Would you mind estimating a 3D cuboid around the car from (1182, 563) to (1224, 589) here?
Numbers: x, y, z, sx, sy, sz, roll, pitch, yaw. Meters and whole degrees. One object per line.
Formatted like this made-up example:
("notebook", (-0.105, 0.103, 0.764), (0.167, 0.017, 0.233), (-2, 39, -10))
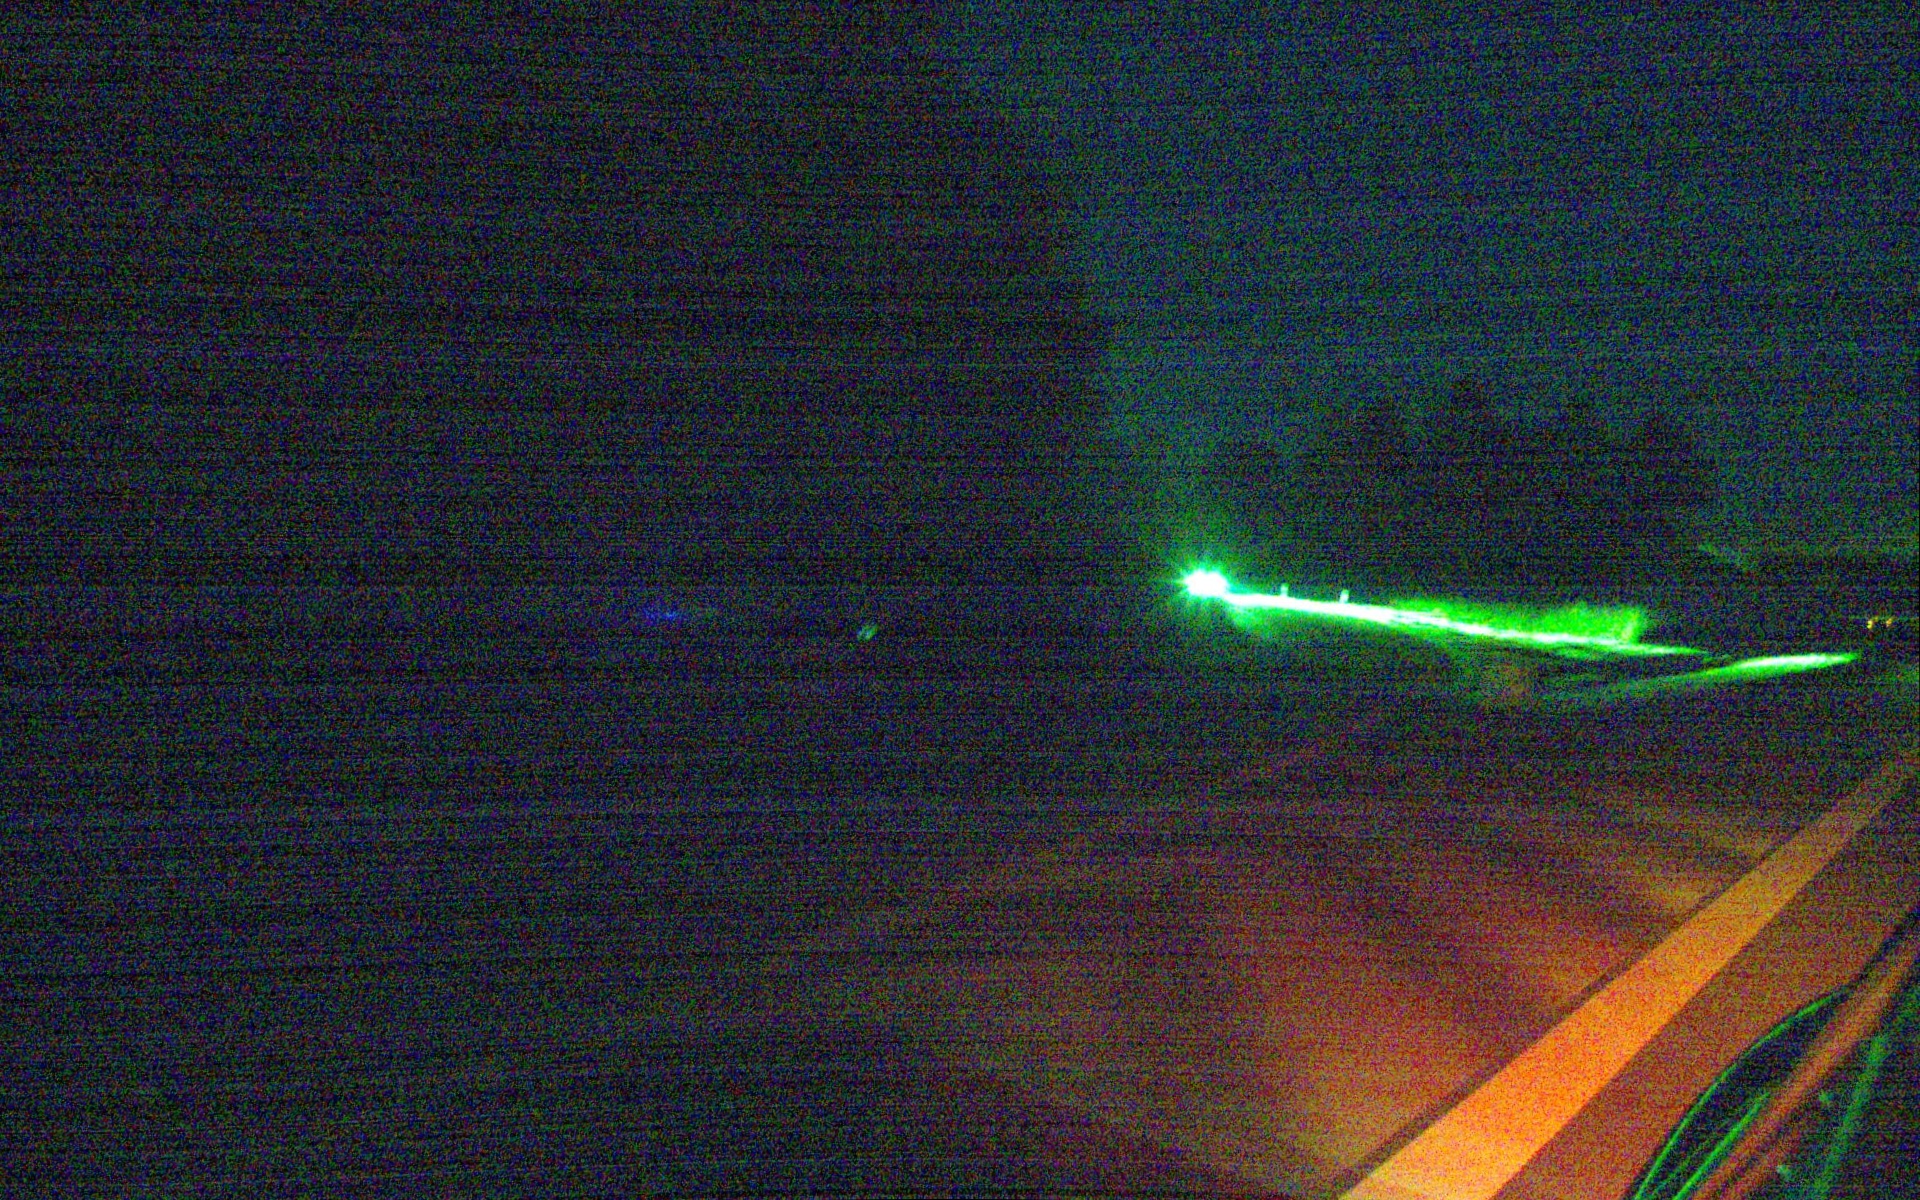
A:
("car", (18.325, -1.779, 76.567), (1.960, 1.877, 4.003), (0, 0, -4))
